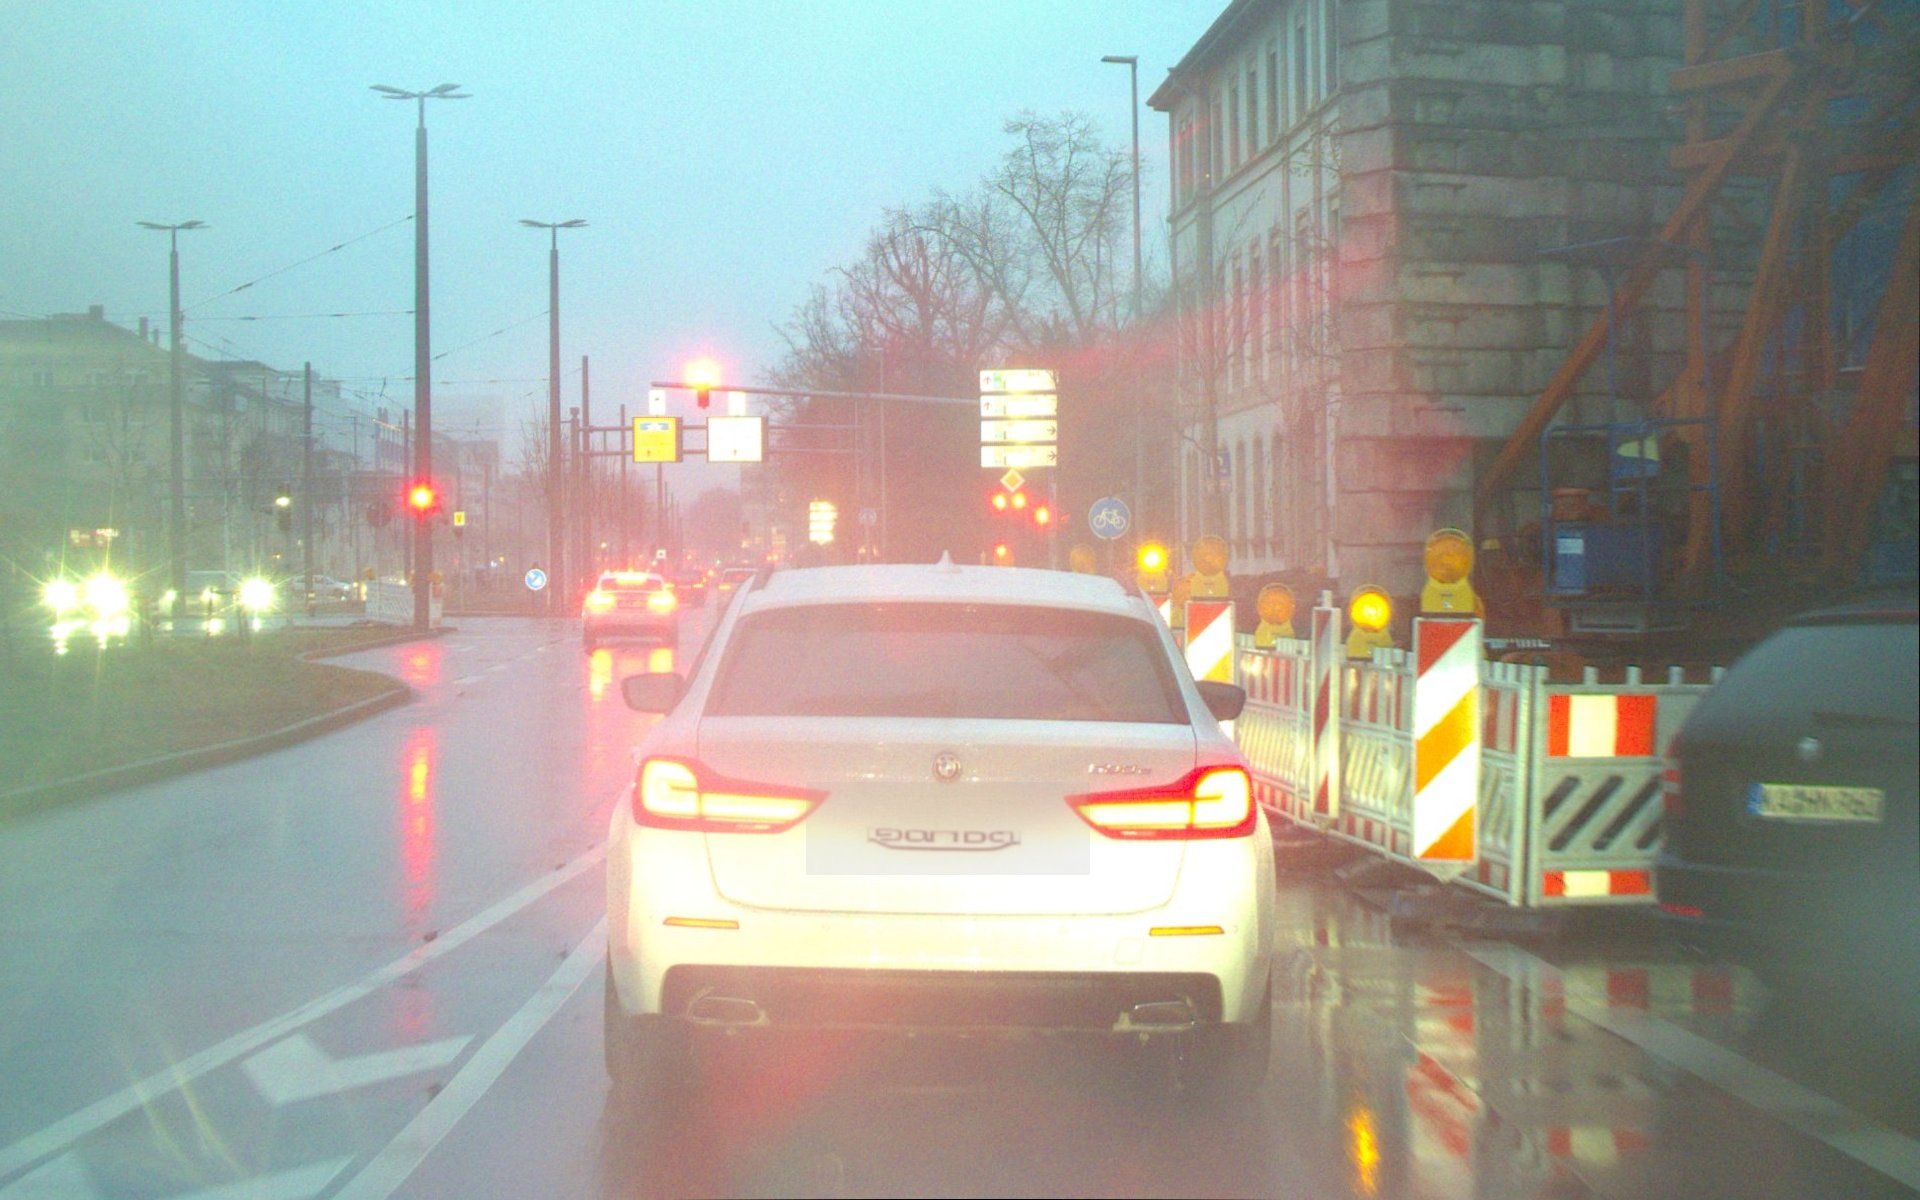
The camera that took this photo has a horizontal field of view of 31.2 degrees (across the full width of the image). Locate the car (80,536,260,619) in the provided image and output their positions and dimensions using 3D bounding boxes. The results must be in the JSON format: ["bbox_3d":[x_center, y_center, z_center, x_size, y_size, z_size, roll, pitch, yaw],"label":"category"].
[{"bbox_3d":[-19.164,-0.550,83.402,3.986,1.968,2.001,0,1,-22],"label":"car"}]

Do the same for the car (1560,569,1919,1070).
[{"bbox_3d":[4.199,0.654,12.082,4.083,1.513,1.907,0,1,-39],"label":"car"}]

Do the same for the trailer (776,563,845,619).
[{"bbox_3d":[-4.514,-0.291,103.632,1.833,1.637,4.001,0,1,-6],"label":"trailer"}]

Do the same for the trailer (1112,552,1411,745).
[{"bbox_3d":[2.491,0.348,29.552,1.835,1.485,4.848,-1,1,-4],"label":"trailer"}]

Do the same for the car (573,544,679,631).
[{"bbox_3d":[-6.481,-0.260,66.984,1.901,1.636,4.001,0,1,-4],"label":"car"}]

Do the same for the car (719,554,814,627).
[{"bbox_3d":[-4.117,-0.229,73.544,1.841,1.514,4.000,0,1,-1],"label":"car"}]

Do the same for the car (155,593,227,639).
[{"bbox_3d":[-28.759,0.578,128.623,1.857,1.634,4.032,0,1,-1],"label":"car"}]

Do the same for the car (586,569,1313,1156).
[{"bbox_3d":[-0.203,0.645,11.224,1.851,1.460,4.947,0,1,-4],"label":"car"}]

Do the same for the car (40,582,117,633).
[{"bbox_3d":[-26.741,0.207,104.194,1.739,1.487,3.543,0,1,-23],"label":"car"}]
